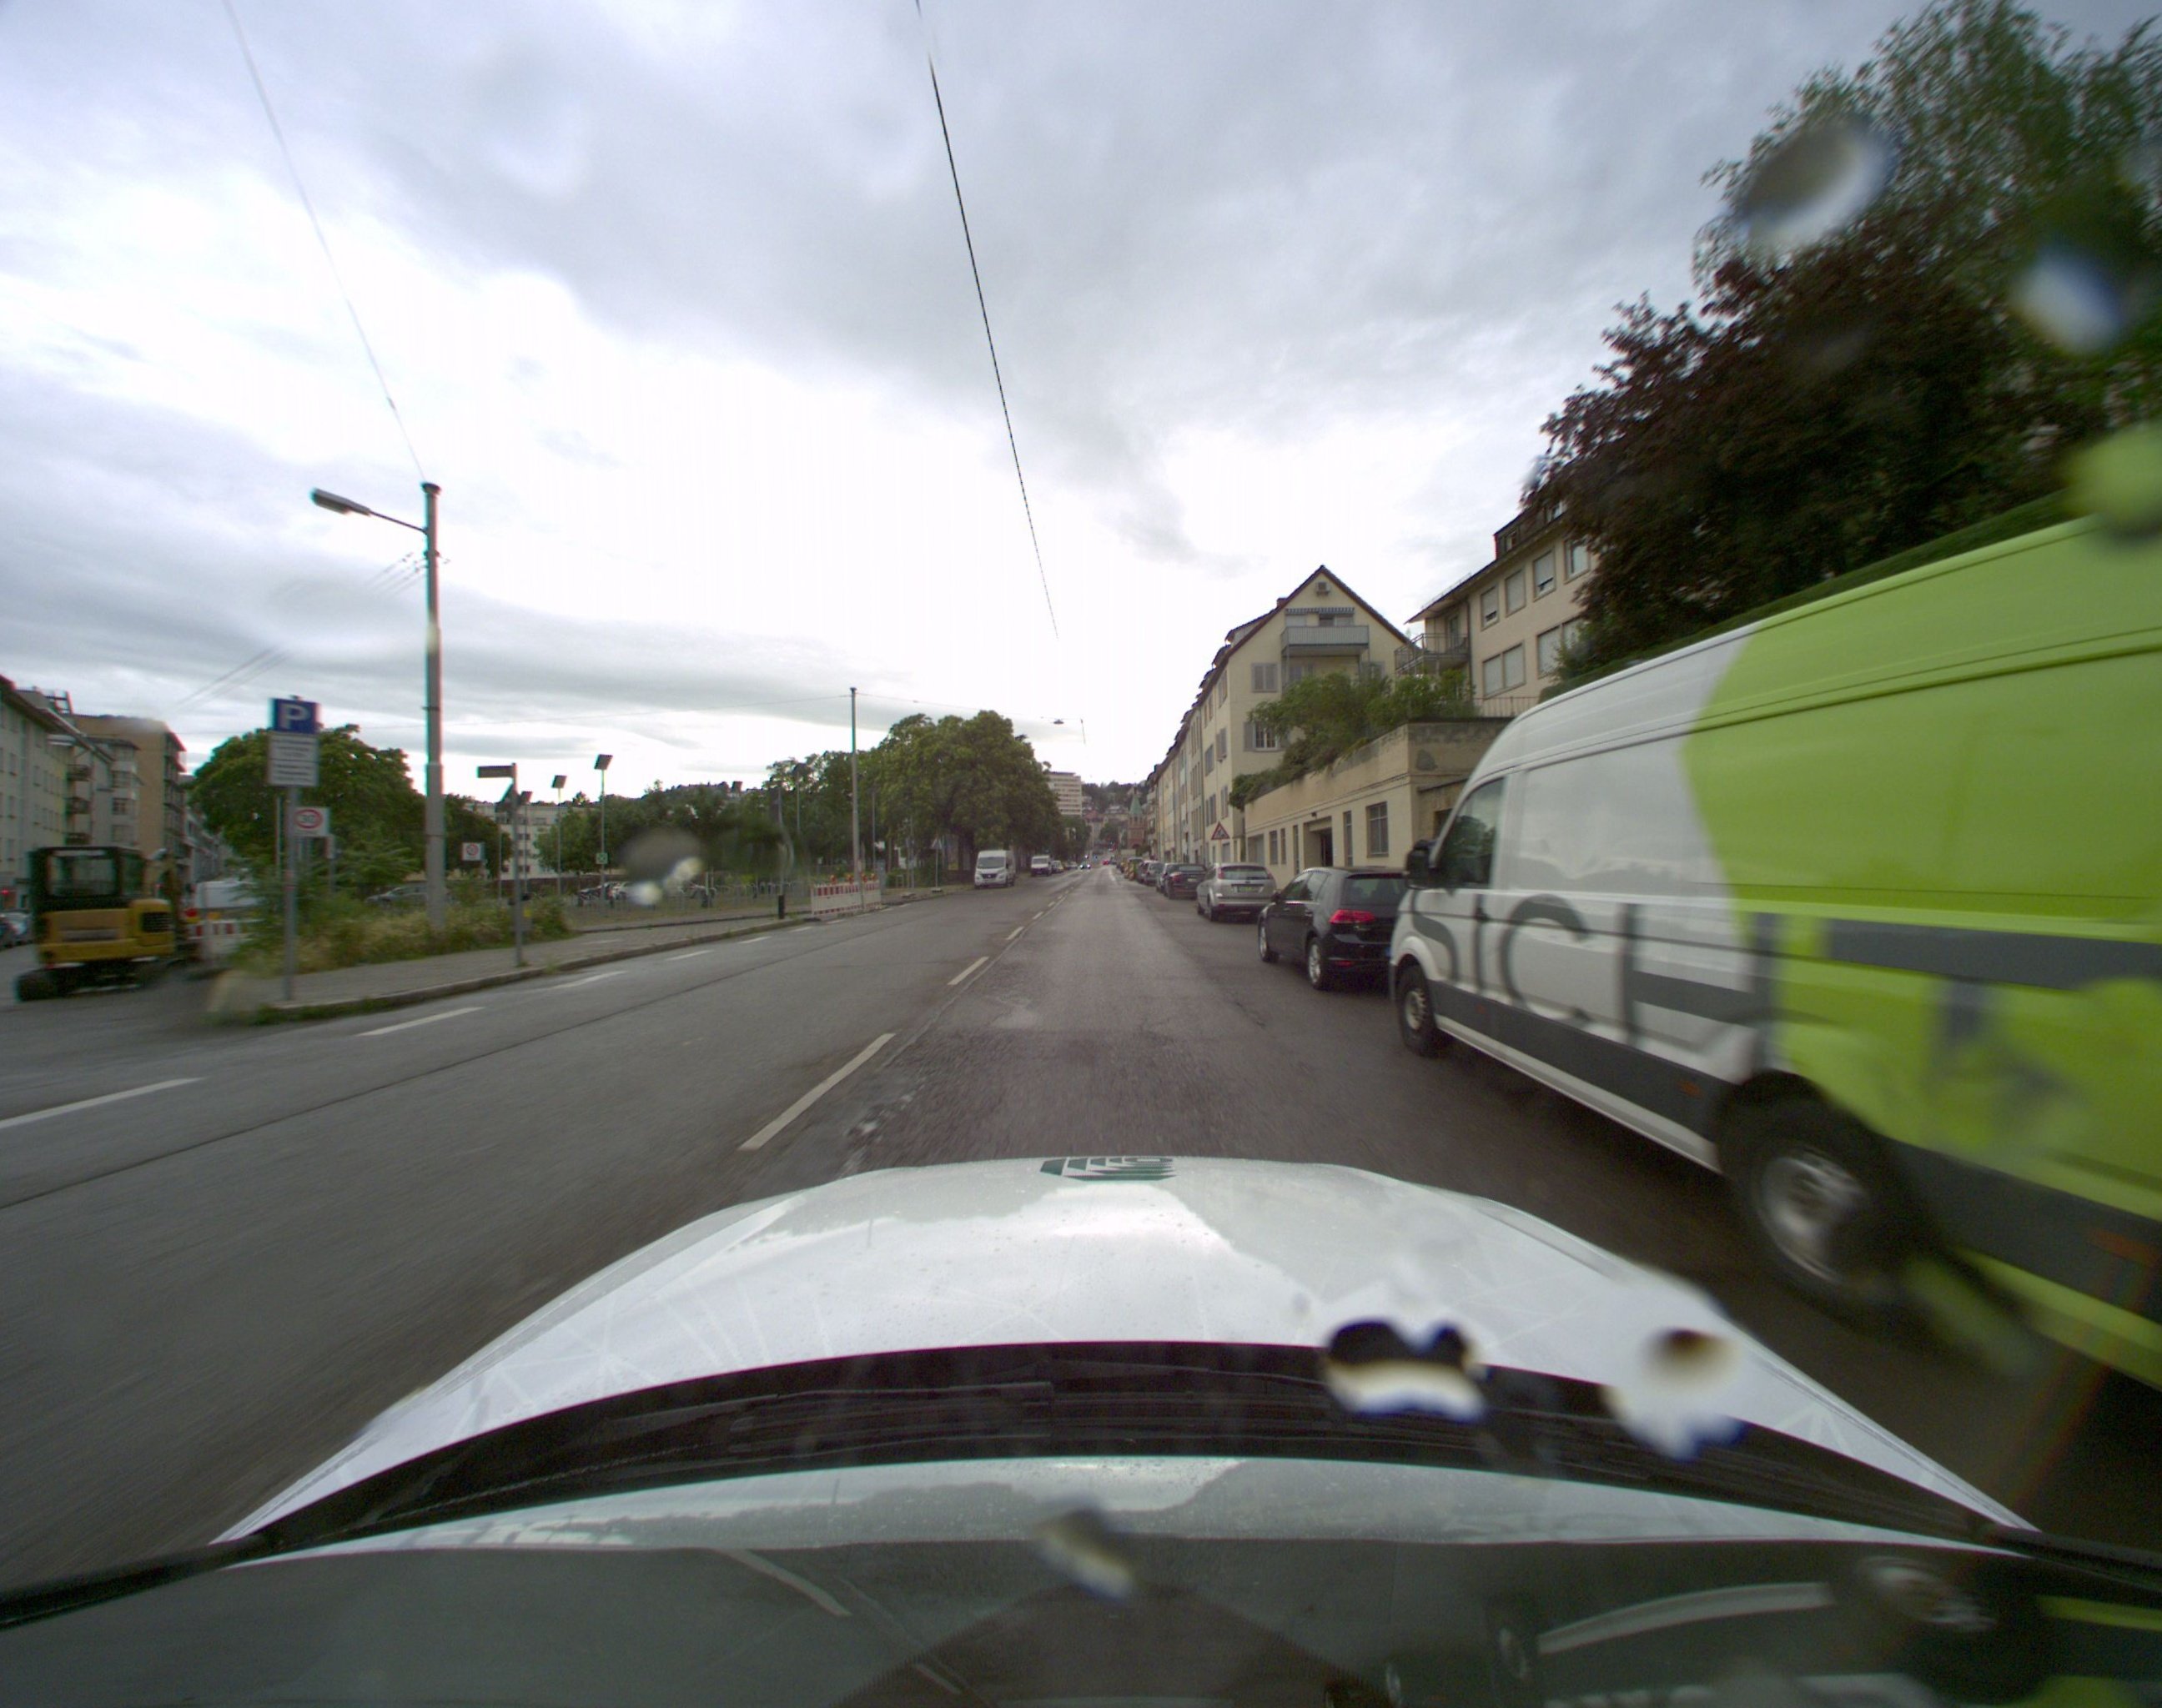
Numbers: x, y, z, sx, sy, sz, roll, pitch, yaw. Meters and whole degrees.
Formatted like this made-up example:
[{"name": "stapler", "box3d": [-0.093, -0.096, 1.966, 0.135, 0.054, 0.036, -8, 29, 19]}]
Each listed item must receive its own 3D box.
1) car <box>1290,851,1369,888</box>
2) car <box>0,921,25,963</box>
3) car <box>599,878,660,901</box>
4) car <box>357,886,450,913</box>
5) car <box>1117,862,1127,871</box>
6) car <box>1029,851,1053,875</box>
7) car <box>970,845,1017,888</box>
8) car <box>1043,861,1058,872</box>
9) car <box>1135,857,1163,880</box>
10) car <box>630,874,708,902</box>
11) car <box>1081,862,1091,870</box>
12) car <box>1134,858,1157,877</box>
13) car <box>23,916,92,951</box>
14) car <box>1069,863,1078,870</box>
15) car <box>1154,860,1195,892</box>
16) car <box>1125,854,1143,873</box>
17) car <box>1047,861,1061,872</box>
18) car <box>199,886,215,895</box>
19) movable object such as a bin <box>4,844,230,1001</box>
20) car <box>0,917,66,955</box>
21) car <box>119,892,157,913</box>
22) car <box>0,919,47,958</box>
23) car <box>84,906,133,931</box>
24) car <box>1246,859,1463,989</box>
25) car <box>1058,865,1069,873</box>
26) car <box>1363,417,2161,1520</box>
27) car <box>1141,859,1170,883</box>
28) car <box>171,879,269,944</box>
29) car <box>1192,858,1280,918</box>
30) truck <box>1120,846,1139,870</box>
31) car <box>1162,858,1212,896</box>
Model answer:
[{"name": "car", "box3d": [10.054, 0.616, 33.296, 1.881, 1.401, 4.201, -1, -1, -1]}, {"name": "car", "box3d": [-42.062, 3.414, 30.997, 3.949, 1.510, 1.811, -4, 0, 44]}, {"name": "car", "box3d": [-37.178, 2.909, 67.181, 1.777, 1.625, 4.024, -3, -1, 43]}, {"name": "car", "box3d": [-48.701, 3.246, 58.606, 4.934, 1.626, 2.099, -2, -3, -44]}, {"name": "car", "box3d": [7.981, 2.452, 158.348, 1.811, 1.652, 4.077, 0, -1, 1]}, {"name": "car", "box3d": [-4.518, 1.003, 92.835, 2.004, 2.487, 5.986, -2, 0, 2]}, {"name": "car", "box3d": [-5.702, 0.795, 54.085, 2.222, 2.579, 6.538, -3, 0, 1]}, {"name": "car", "box3d": [-4.041, 1.676, 108.092, 1.676, 1.398, 3.910, -2, -1, 1]}, {"name": "car", "box3d": [4.773, 0.972, 57.271, 1.710, 1.524, 4.001, 0, 0, 1]}, {"name": "car", "box3d": [-30.303, 2.482, 60.037, 1.975, 1.834, 4.721, -3, -1, 43]}, {"name": "car", "box3d": [0.874, 2.210, 154.734, 1.800, 1.416, 4.382, -1, -1, -1]}, {"name": "car", "box3d": [4.928, 1.031, 62.864, 1.620, 1.411, 3.843, 0, 0, 2]}, {"name": "car", "box3d": [-53.147, 4.074, 42.351, 3.949, 1.510, 1.811, -4, 0, 44]}, {"name": "car", "box3d": [-1.548, 2.539, 164.340, 1.704, 1.451, 4.294, -2, -1, 1]}, {"name": "car", "box3d": [4.481, 1.010, 39.518, 1.623, 1.454, 3.760, 0, 0, 1]}, {"name": "car", "box3d": [5.598, 1.033, 86.703, 1.810, 1.924, 4.241, -2, -1, 2]}, {"name": "car", "box3d": [-3.833, 1.737, 115.133, 1.676, 1.462, 4.277, -2, -1, 1]}, {"name": "car", "box3d": [-152.898, 6.382, 142.474, 3.949, 1.510, 1.811, -4, 0, 44]}, {"name": "movable object such as a bin", "box3d": [-17.859, 1.125, 15.388, 1.679, 2.459, 5.228, -1, -1, -38]}, {"name": "car", "box3d": [-49.724, 3.859, 38.465, 3.949, 1.510, 1.811, -4, 0, 44]}, {"name": "car", "box3d": [-76.819, 3.935, 66.378, 3.949, 1.510, 1.811, -4, 0, 44]}, {"name": "car", "box3d": [-46.216, 3.654, 34.905, 1.811, 1.510, 3.950, -4, 0, -45]}, {"name": "car", "box3d": [-66.300, 4.369, 55.570, 3.949, 1.510, 1.811, -4, 0, 44]}, {"name": "car", "box3d": [3.544, 0.814, 11.390, 1.682, 1.454, 4.236, 0, 0, 1]}, {"name": "car", "box3d": [-3.151, 2.719, 149.071, 1.797, 1.451, 4.656, -2, -1, -1]}, {"name": "car", "box3d": [3.610, 0.263, 4.496, 2.197, 2.463, 6.082, 0, 0, 2]}, {"name": "car", "box3d": [4.728, 1.039, 51.848, 1.553, 1.454, 3.760, 0, 0, 1]}, {"name": "car", "box3d": [-37.572, 2.465, 35.543, 5.660, 2.413, 2.691, -4, 0, 42]}, {"name": "car", "box3d": [4.096, 0.905, 22.138, 1.682, 1.454, 4.235, 0, -2, 1]}, {"name": "truck", "box3d": [6.685, 0.559, 112.928, 2.460, 3.172, 7.039, -1, -1, 2]}, {"name": "car", "box3d": [4.214, 0.885, 32.778, 1.623, 1.454, 3.760, 0, 0, 1]}]
